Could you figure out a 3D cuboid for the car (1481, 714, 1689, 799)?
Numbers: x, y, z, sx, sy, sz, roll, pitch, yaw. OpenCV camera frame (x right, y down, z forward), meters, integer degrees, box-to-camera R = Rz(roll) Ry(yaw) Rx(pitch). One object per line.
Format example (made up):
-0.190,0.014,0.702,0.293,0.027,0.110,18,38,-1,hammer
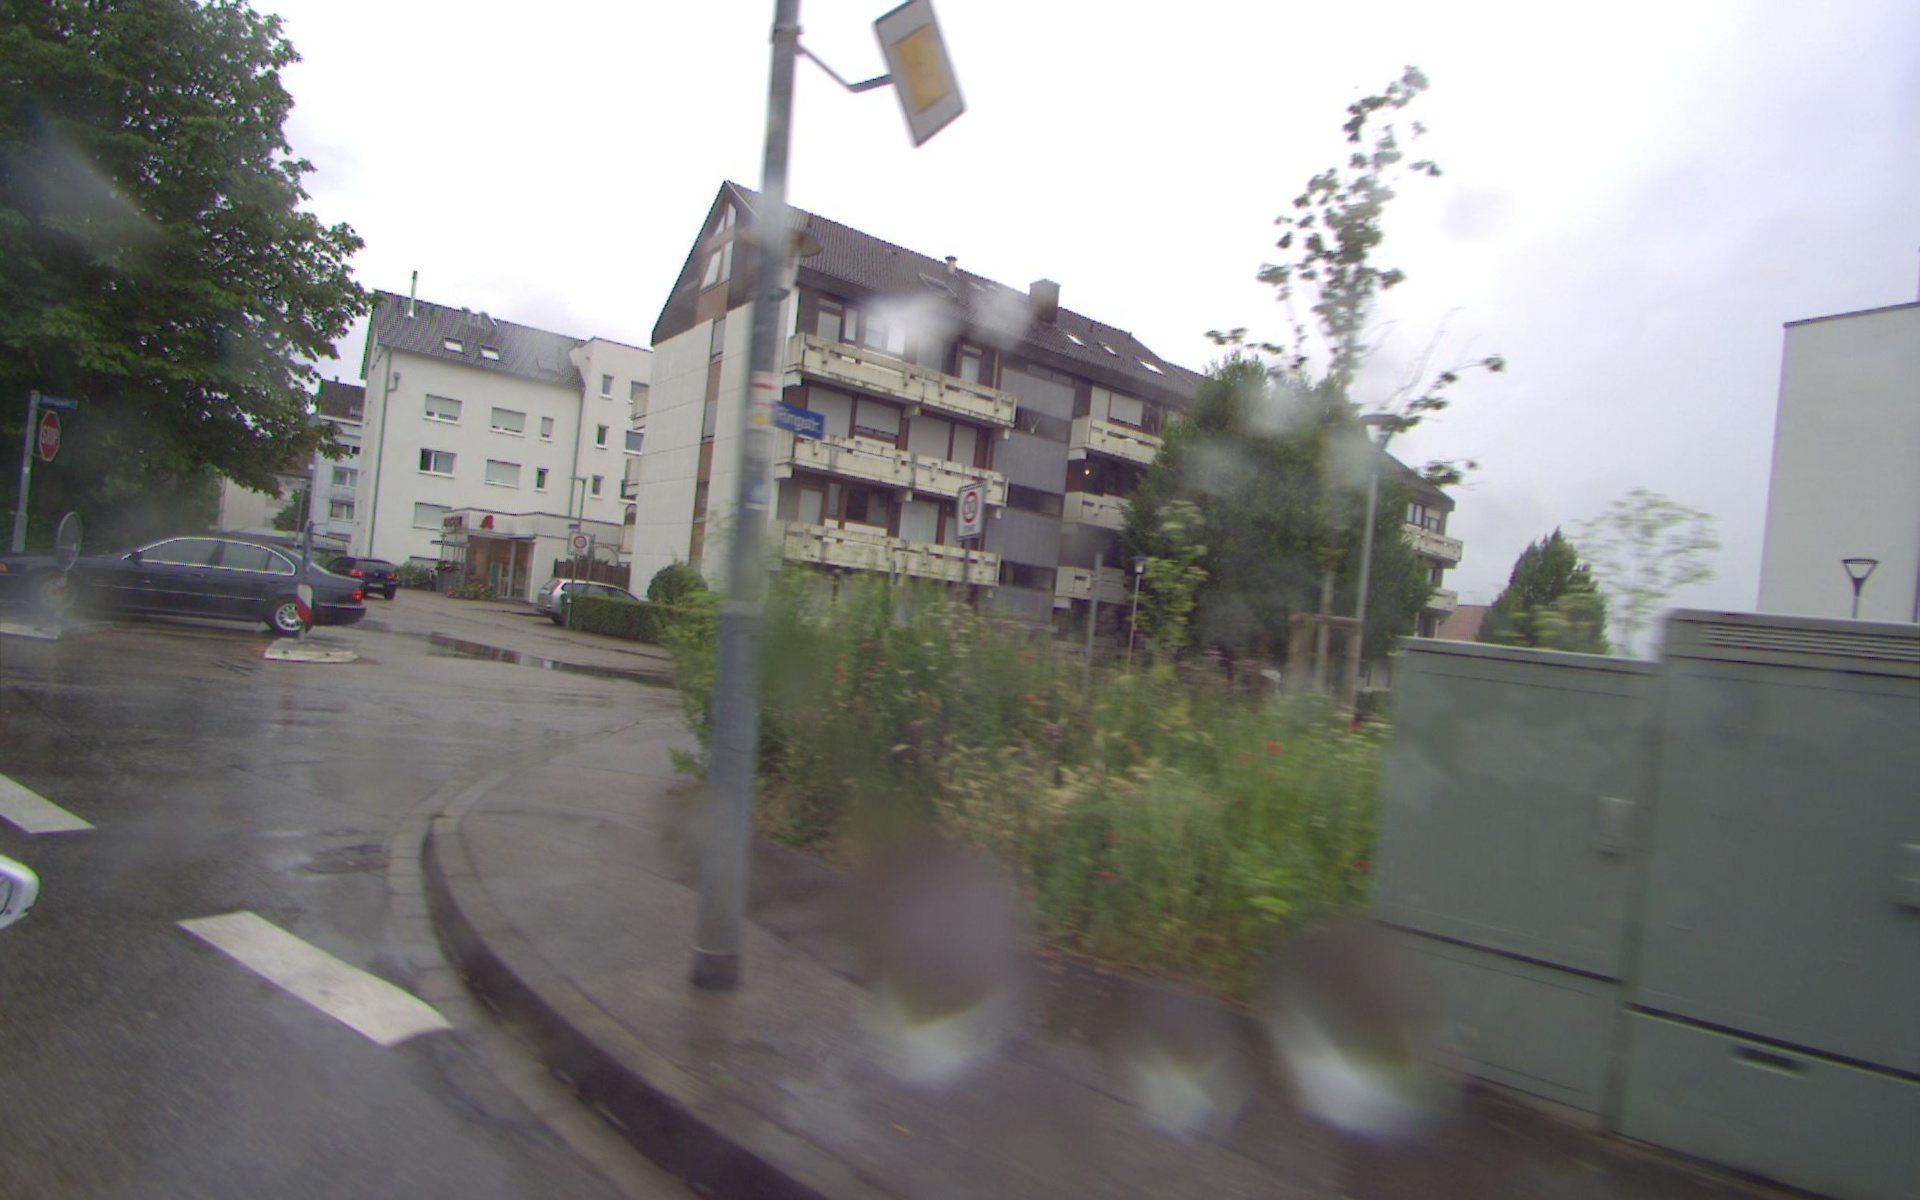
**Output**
14.369,3.587,23.276,1.707,1.457,3.673,8,-4,-37,car

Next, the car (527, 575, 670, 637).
-11.921,0.201,33.273,3.972,1.479,1.842,9,-1,-40,car

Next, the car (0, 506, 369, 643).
-11.977,-0.356,15.613,4.578,1.403,1.928,9,-2,-36,car

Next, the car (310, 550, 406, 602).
-22.498,-0.909,37.556,3.555,1.455,1.689,7,-1,35,car
